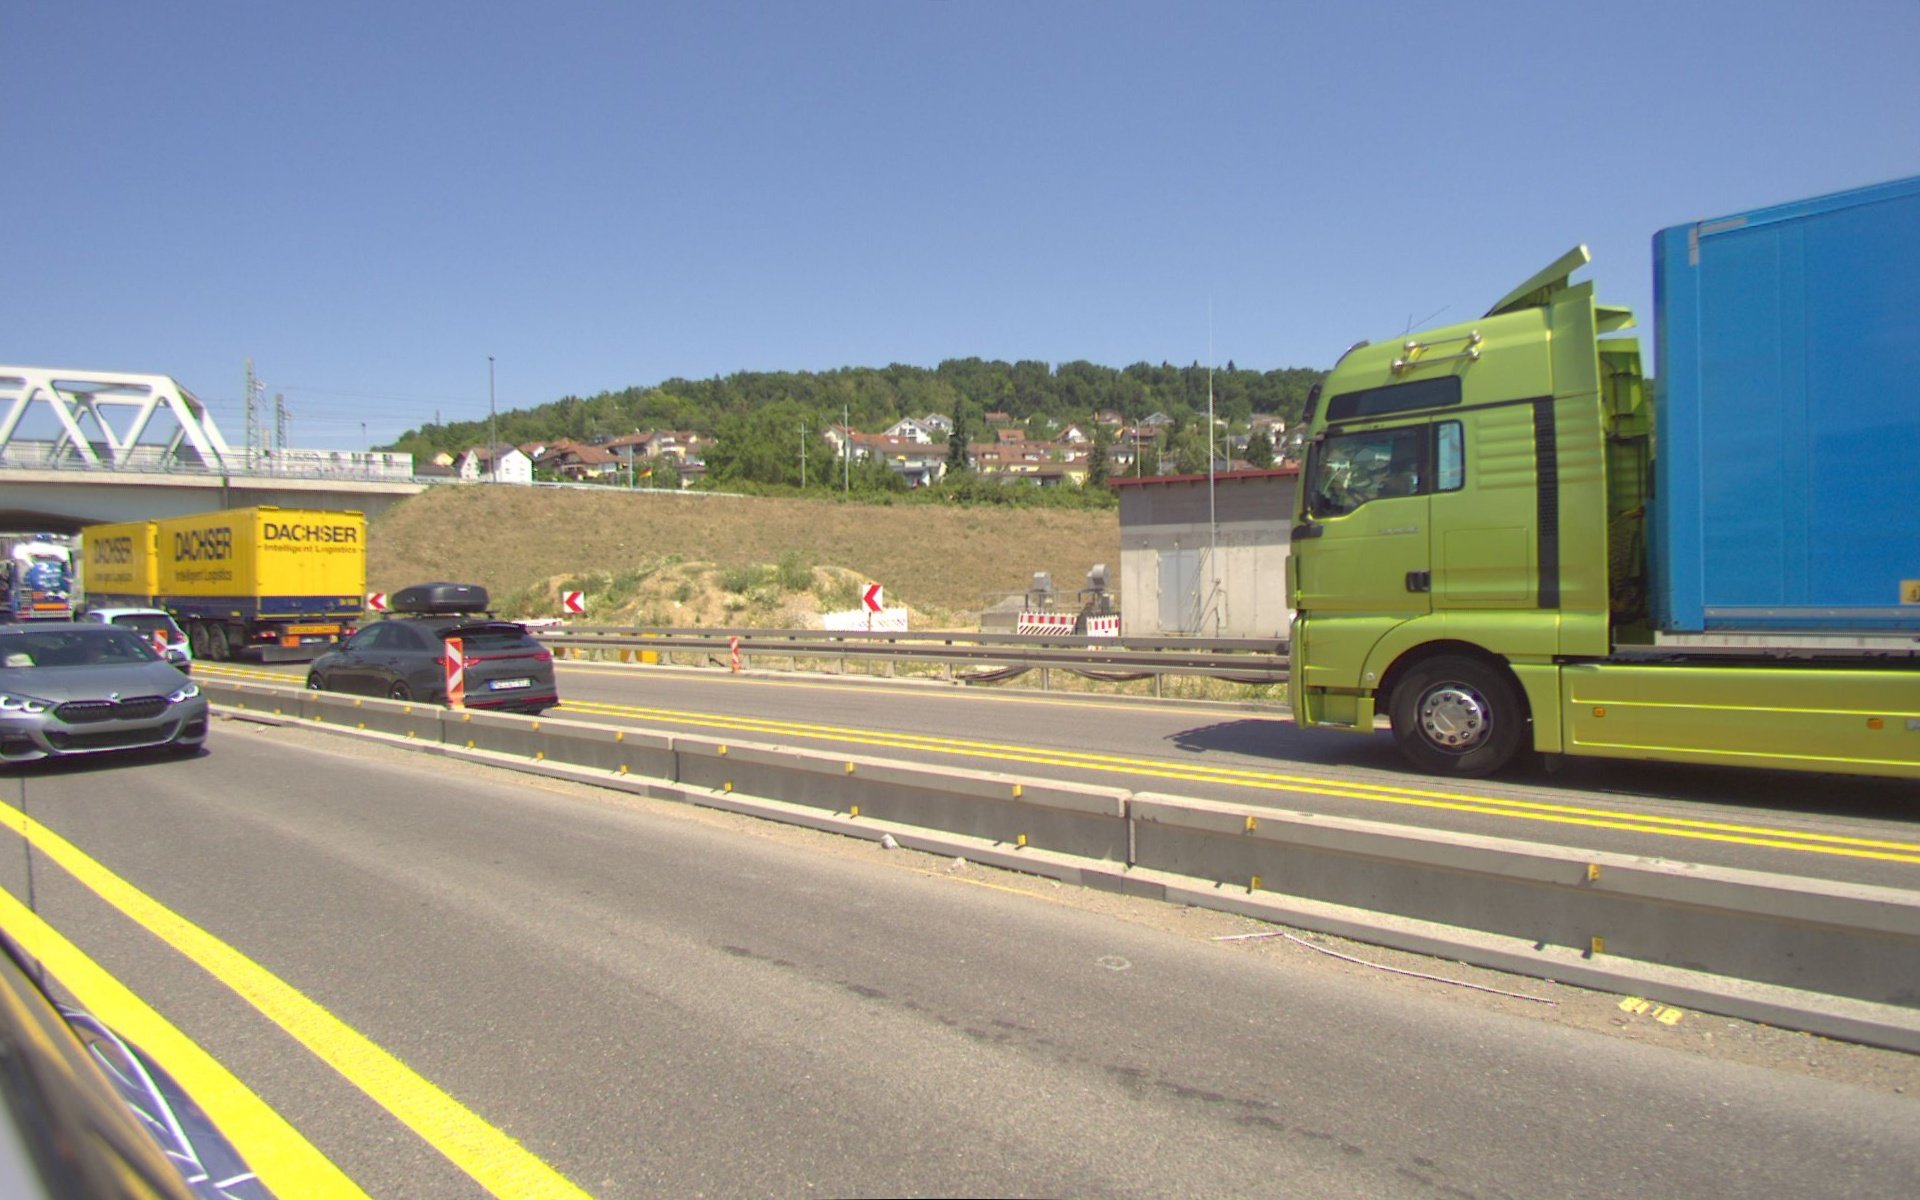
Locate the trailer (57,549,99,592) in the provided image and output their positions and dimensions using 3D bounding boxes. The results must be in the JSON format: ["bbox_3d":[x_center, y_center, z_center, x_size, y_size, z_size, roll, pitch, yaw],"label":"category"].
[{"bbox_3d":[-87.518,-2.993,100.569,2.841,4.069,14.381,-3,3,-41],"label":"trailer"}]

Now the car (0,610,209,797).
[{"bbox_3d":[-9.753,0.934,10.851,4.387,1.609,1.815,0,1,41],"label":"car"}]

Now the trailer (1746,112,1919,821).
[{"bbox_3d":[10.924,-0.819,3.063,13.314,4.324,2.618,0,2,44],"label":"trailer"}]

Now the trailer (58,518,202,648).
[{"bbox_3d":[-29.392,-0.579,35.807,5.211,4.261,2.839,0,1,38],"label":"trailer"}]

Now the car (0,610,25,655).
[{"bbox_3d":[-31.583,1.021,32.354,4.494,1.372,1.661,-1,1,37],"label":"car"}]

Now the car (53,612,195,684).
[{"bbox_3d":[-18.911,1.058,22.855,3.994,1.497,1.621,-2,-2,37],"label":"car"}]

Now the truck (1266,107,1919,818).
[{"bbox_3d":[5.351,-0.870,8.347,4.731,4.302,2.597,0,2,42],"label":"truck"}]

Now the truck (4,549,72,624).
[{"bbox_3d":[-49.557,-0.782,54.387,2.504,3.850,4.955,-2,3,-43],"label":"truck"}]

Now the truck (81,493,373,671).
[{"bbox_3d":[-22.718,-0.481,30.651,15.349,4.375,2.781,0,1,37],"label":"truck"}]

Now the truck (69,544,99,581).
[{"bbox_3d":[-111.795,-4.848,129.283,2.734,4.345,13.515,-1,4,-40],"label":"truck"}]

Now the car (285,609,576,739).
[{"bbox_3d":[-7.327,0.899,13.814,4.577,1.446,1.803,-1,0,38],"label":"car"}]

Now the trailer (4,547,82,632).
[{"bbox_3d":[-45.754,-0.623,50.376,2.496,3.817,10.254,-2,3,-44],"label":"trailer"}]
